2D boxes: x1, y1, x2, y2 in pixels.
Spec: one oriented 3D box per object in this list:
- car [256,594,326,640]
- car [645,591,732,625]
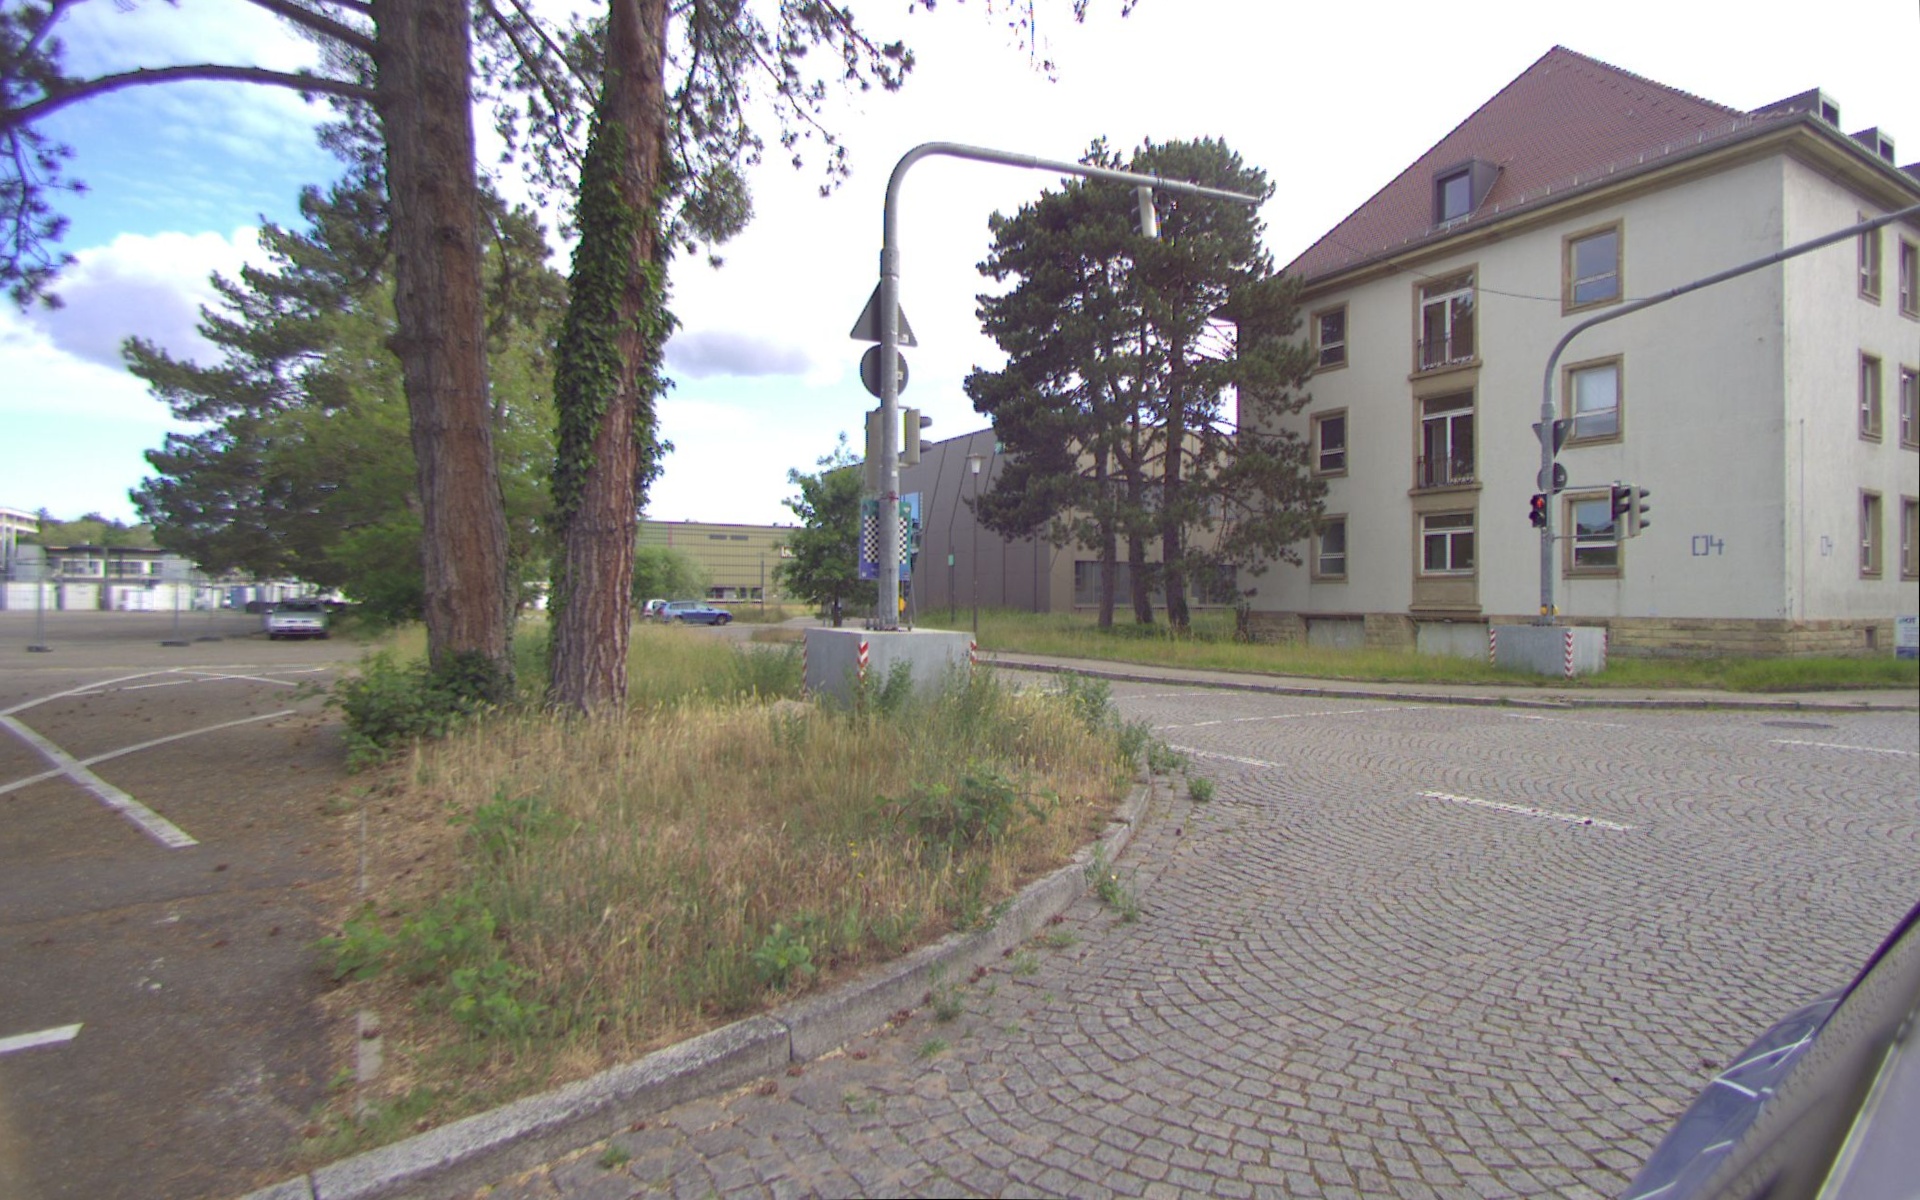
[{"bbox_3d":[-23.553,0.550,35.649,1.935,1.501,4.001,0,0,-34],"label":"car"},{"bbox_3d":[-15.489,0.453,57.752,4.389,1.854,2.001,0,0,-32],"label":"car"}]
